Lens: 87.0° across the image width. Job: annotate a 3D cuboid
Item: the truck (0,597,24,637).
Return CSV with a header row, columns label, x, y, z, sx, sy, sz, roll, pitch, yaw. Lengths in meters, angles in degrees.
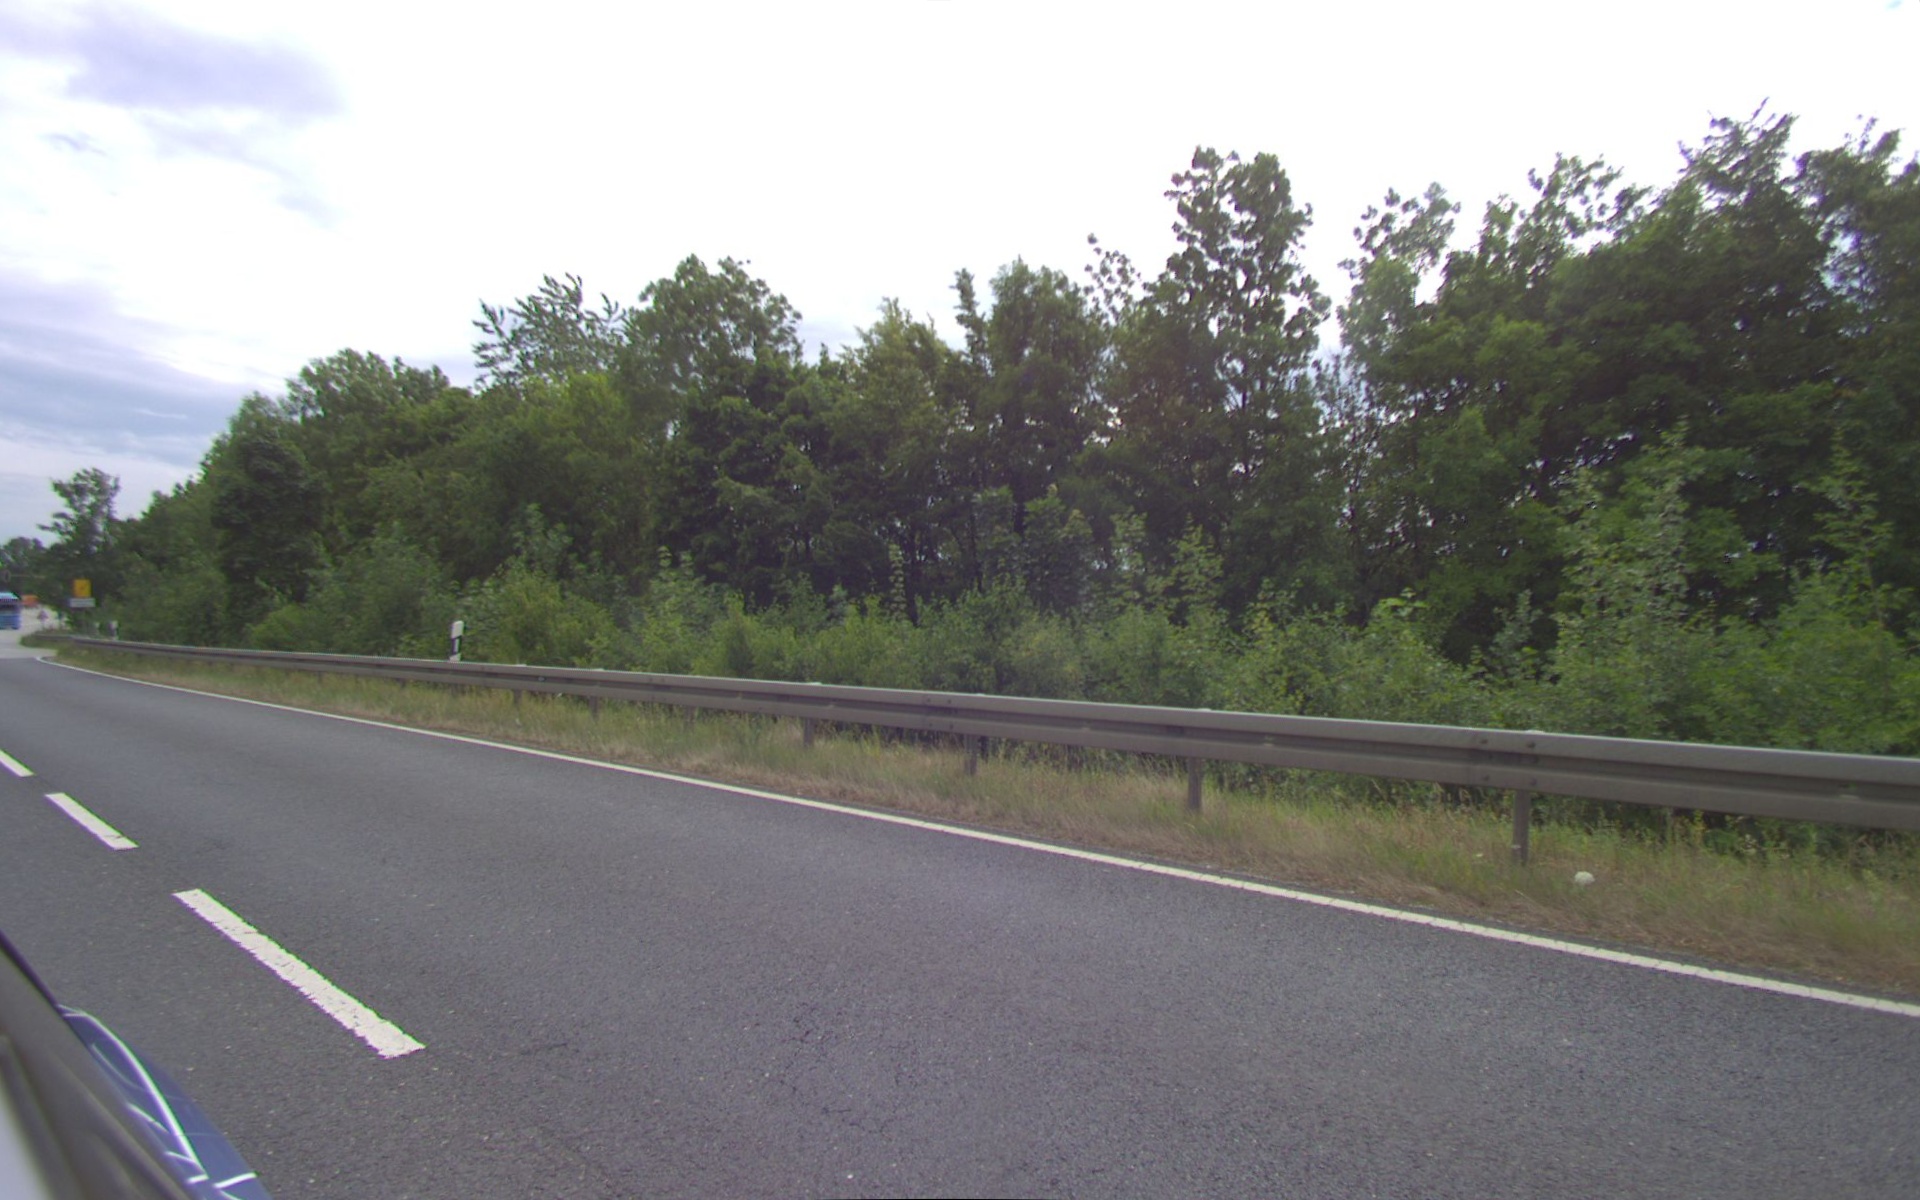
label,x,y,z,sx,sy,sz,roll,pitch,yaw
truck,-108.731,1.827,113.016,9.524,4.383,3.001,1,-2,28
